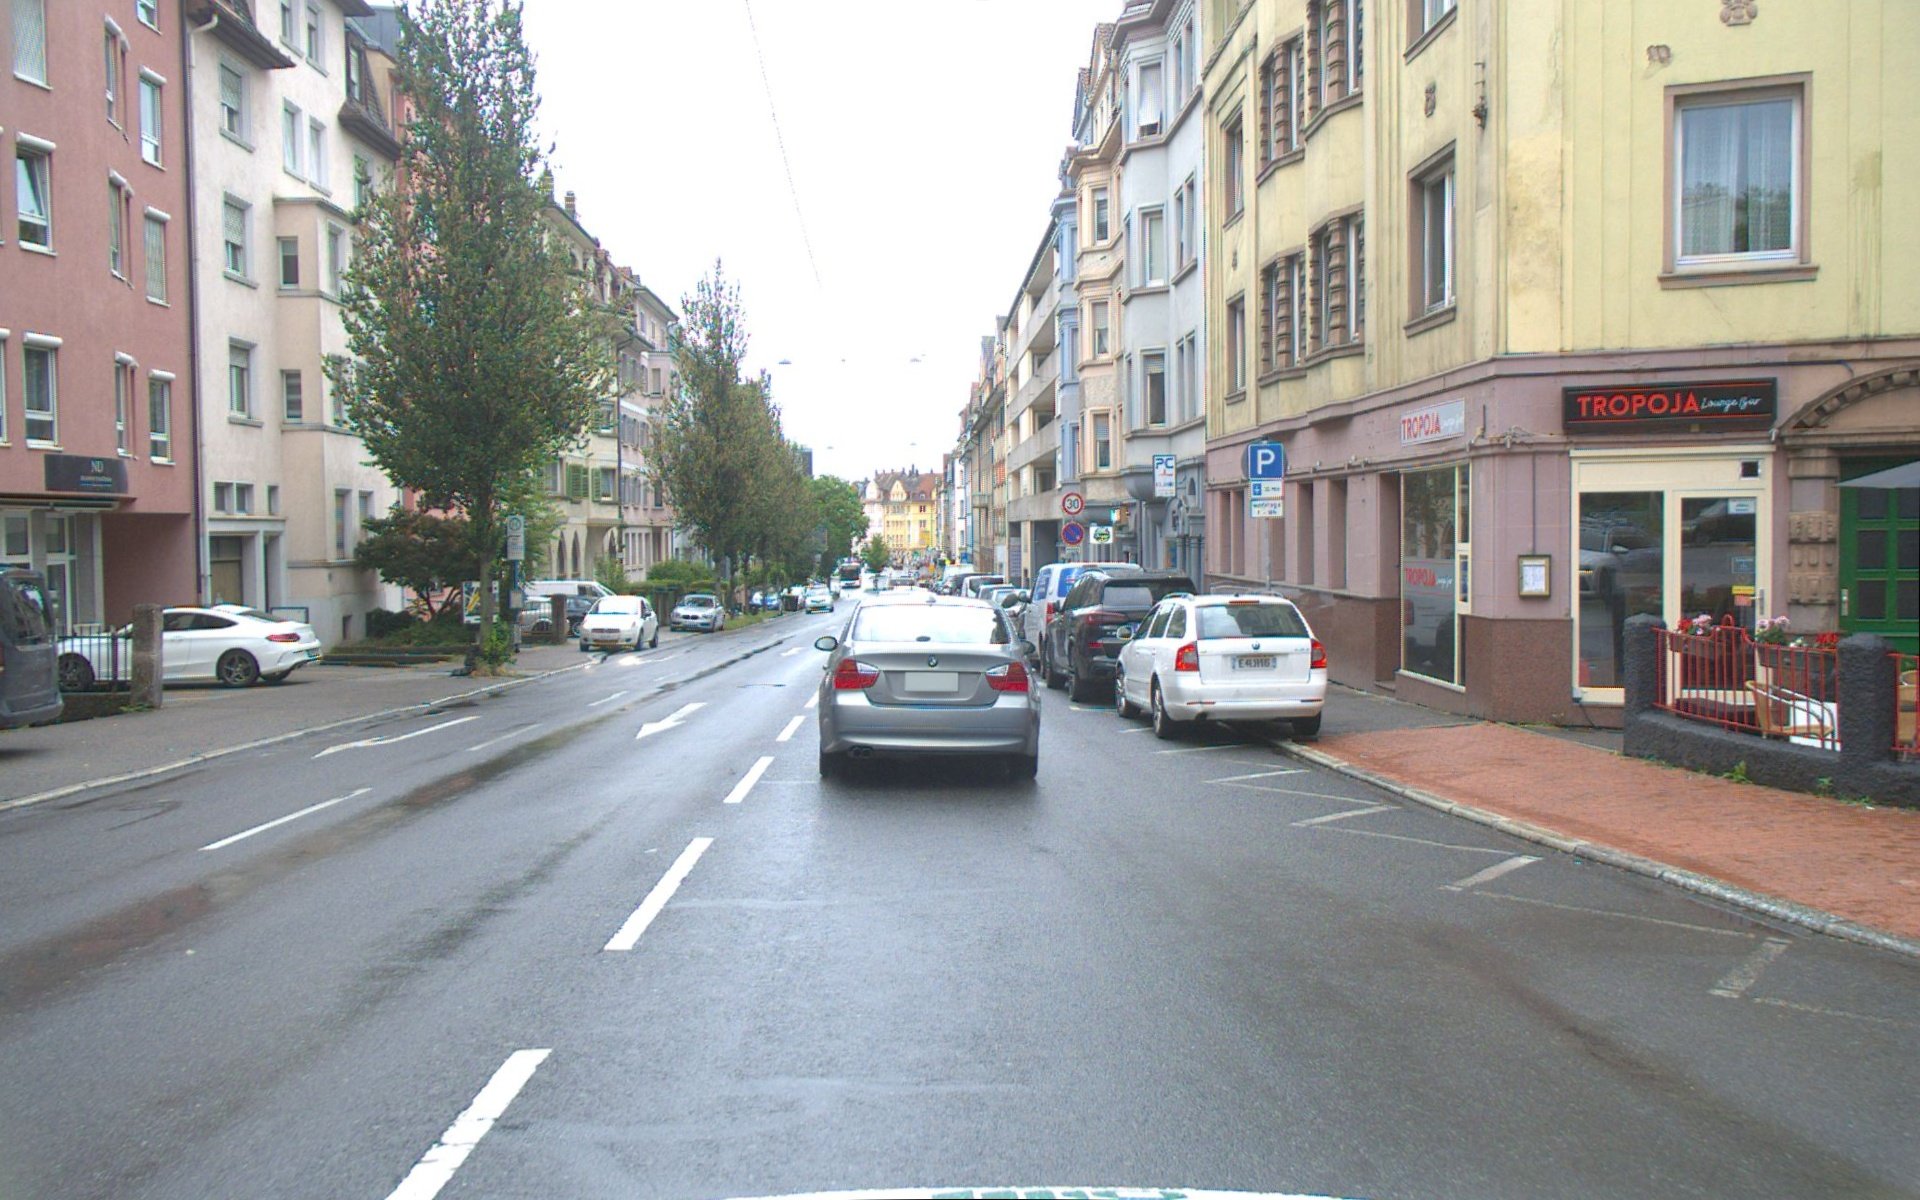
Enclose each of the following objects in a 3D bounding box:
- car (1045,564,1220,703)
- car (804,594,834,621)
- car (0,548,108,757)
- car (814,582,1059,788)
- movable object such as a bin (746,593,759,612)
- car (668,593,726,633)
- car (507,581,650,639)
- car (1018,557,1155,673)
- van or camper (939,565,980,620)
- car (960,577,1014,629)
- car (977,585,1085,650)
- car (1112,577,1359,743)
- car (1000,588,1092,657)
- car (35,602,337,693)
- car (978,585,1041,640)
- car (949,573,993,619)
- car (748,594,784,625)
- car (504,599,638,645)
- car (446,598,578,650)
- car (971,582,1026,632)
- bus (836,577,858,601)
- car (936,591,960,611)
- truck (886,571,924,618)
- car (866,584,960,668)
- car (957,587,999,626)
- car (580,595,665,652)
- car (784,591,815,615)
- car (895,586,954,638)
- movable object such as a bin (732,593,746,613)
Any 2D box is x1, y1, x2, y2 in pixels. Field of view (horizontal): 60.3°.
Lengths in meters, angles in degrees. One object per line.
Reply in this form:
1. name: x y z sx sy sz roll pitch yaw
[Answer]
1. car: 2.353 0.422 23.739 1.841 1.762 4.675 1 0 -2
2. car: -8.698 0.466 102.397 1.603 1.534 3.753 -3 0 -2
3. car: -11.123 0.424 16.144 4.592 1.972 1.858 2 1 -12
4. car: -0.223 0.593 13.745 1.733 1.453 3.740 1 1 -2
5. movable object such as a bin: -10.284 0.131 81.938 0.565 0.928 0.637 -1 0 -16
6. car: -10.380 0.513 65.598 1.691 1.509 3.988 2 0 -1
7. car: -13.892 0.352 60.410 4.732 2.008 2.047 -1 0 -2
8. car: 2.170 0.238 29.759 1.881 1.859 5.007 -2 0 -2
9. van or camper: 0.028 -0.444 93.227 1.991 2.918 6.886 2 0 2
10. car: 1.071 0.106 68.095 1.942 2.042 4.623 -1 0 -2
11. car: 1.699 0.405 41.219 1.840 1.493 4.766 1 0 -8
12. car: 2.897 0.581 18.389 1.763 1.592 4.490 1 0 -3
13. car: 1.826 0.458 36.280 1.643 1.399 4.274 0 0 -2
14. car: -13.585 0.813 29.219 4.456 1.425 1.767 -2 0 -3
15. car: 1.398 0.345 48.067 1.579 1.500 4.014 1 0 -2
16. car: 0.521 -0.197 82.748 1.942 2.203 4.748 -1 0 -2
17. car: -11.036 0.522 94.119 1.731 1.621 3.998 -2 0 -3
18. car: -13.647 0.771 58.207 4.345 1.477 1.790 -1 0 -5
19. car: -14.075 0.735 52.133 3.810 1.483 1.788 -2 0 -10
20. car: 1.393 0.236 61.311 1.691 1.699 4.286 -3 0 -2
21. bus: -15.230 -1.510 223.387 2.615 3.077 7.667 -1 0 -2
22. car: -0.965 0.079 131.167 1.663 1.509 3.973 1 0 -3
23. truck: -3.085 -0.281 91.207 1.991 2.455 4.824 1 0 -3
24. car: -0.859 0.461 31.281 1.647 1.453 3.740 1 0 -1
25. car: 0.799 0.267 75.691 1.691 1.699 4.286 -1 0 -2
26. car: -9.356 0.619 46.116 1.588 1.471 4.004 -1 0 -1
27. car: -11.218 0.172 115.776 1.790 1.550 3.736 -2 0 -1
28. car: -1.117 0.357 50.406 1.663 1.509 3.791 1 0 -3
29. movable object such as a bin: -10.937 0.150 81.782 0.565 0.928 0.637 -1 0 -16
